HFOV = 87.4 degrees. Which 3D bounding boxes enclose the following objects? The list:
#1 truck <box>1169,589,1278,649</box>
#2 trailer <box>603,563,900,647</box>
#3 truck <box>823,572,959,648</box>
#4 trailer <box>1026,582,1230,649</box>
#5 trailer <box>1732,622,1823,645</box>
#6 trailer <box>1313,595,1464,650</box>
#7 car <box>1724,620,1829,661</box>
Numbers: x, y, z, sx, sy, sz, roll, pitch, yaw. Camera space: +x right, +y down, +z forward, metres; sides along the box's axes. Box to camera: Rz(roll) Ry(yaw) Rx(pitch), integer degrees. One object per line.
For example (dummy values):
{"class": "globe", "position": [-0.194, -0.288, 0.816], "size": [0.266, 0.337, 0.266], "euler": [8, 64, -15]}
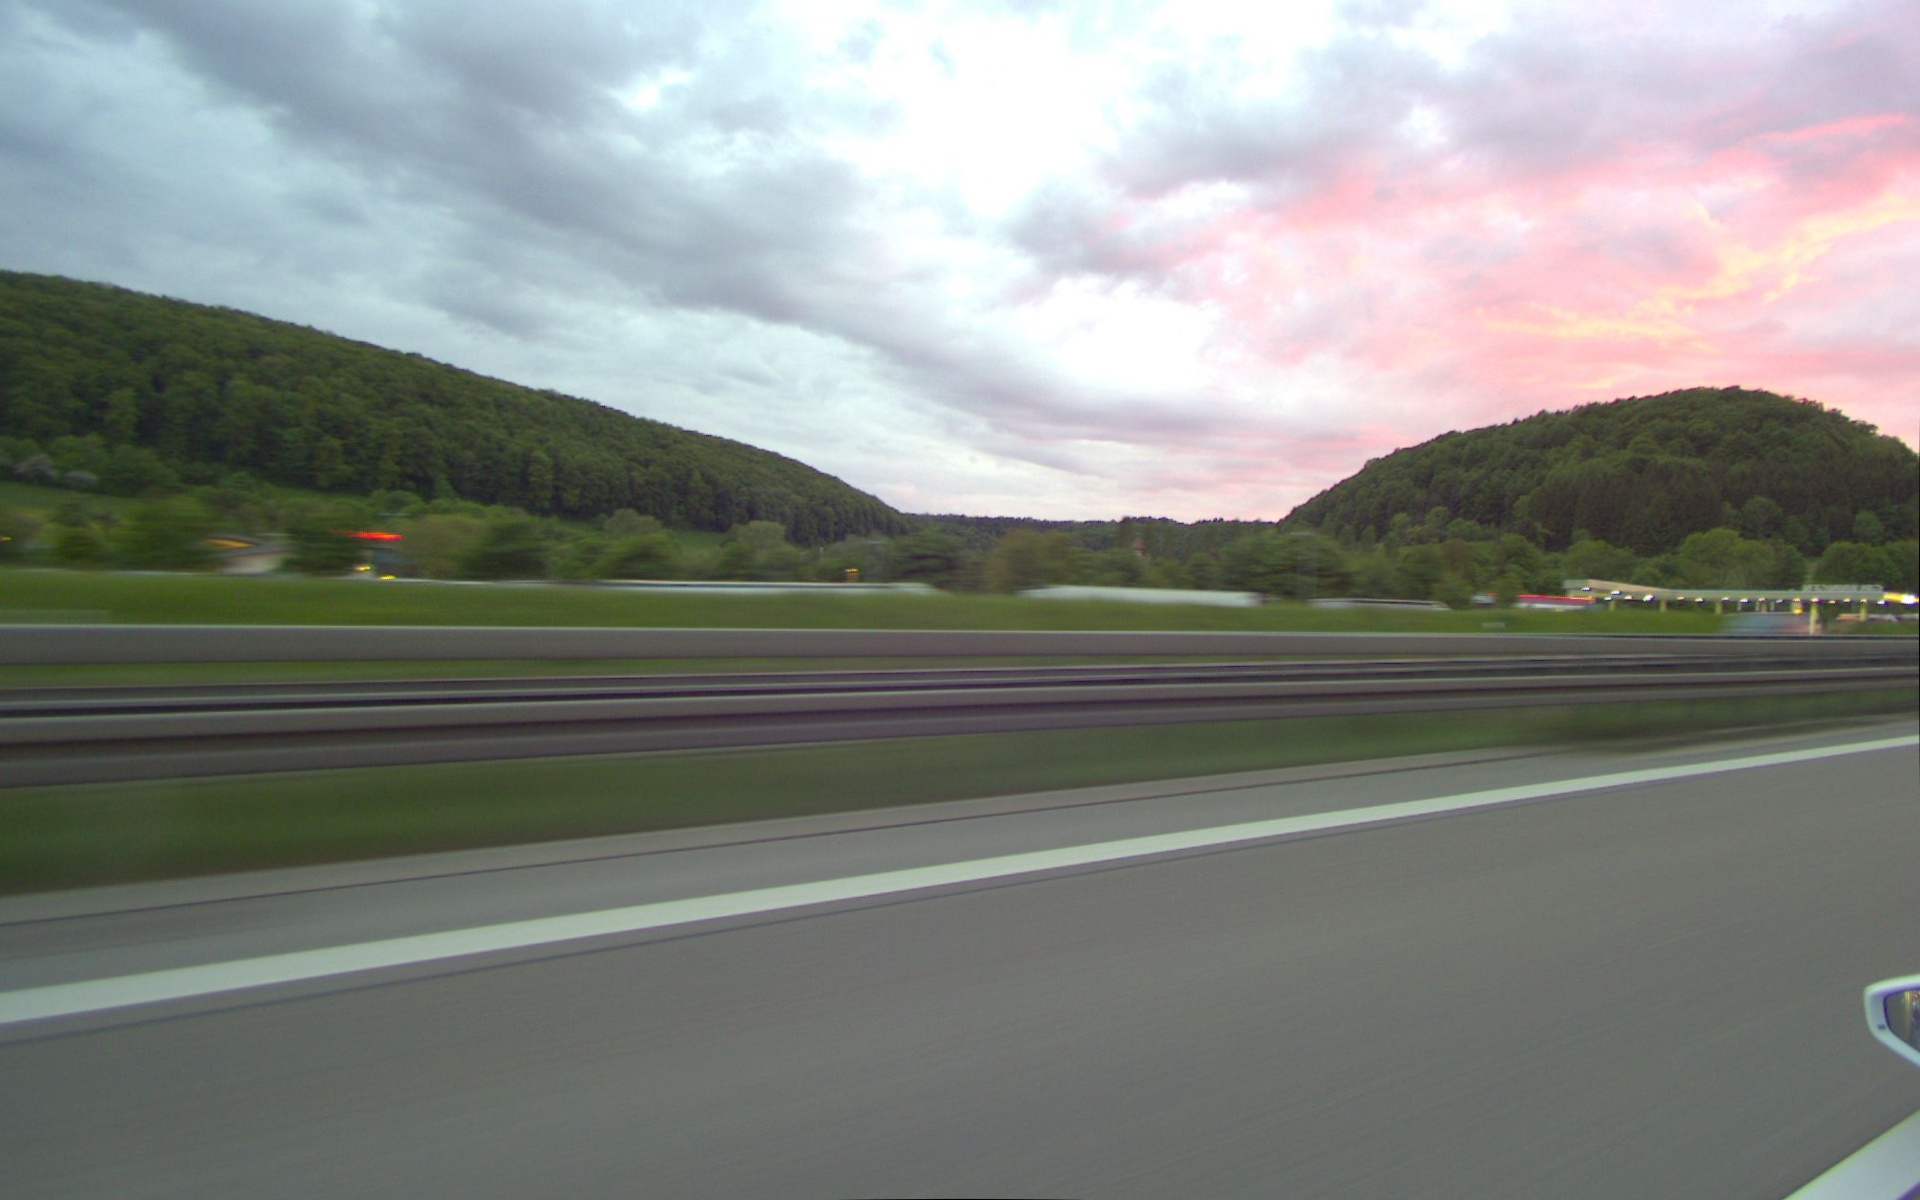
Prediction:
{"class": "truck", "position": [14.410, 1.031, 54.823], "size": [5.242, 3.129, 2.853], "euler": [2, 0, -30]}
{"class": "trailer", "position": [-8.291, 0.306, 41.121], "size": [11.589, 3.093, 2.859], "euler": [1, 0, -31]}
{"class": "truck", "position": [-3.030, 0.451, 44.247], "size": [5.242, 3.129, 2.853], "euler": [2, 0, -30]}
{"class": "trailer", "position": [8.783, 0.844, 51.522], "size": [11.030, 3.129, 2.853], "euler": [2, 0, -31]}
{"class": "trailer", "position": [145.074, 5.993, 178.381], "size": [13.149, 3.566, 2.942], "euler": [2, 0, 3]}
{"class": "trailer", "position": [26.778, 1.443, 62.527], "size": [11.037, 3.129, 2.851], "euler": [2, 0, -32]}
{"class": "car", "position": [36.176, 1.792, 44.479], "size": [5.057, 1.723, 1.984], "euler": [2, -3, -31]}
